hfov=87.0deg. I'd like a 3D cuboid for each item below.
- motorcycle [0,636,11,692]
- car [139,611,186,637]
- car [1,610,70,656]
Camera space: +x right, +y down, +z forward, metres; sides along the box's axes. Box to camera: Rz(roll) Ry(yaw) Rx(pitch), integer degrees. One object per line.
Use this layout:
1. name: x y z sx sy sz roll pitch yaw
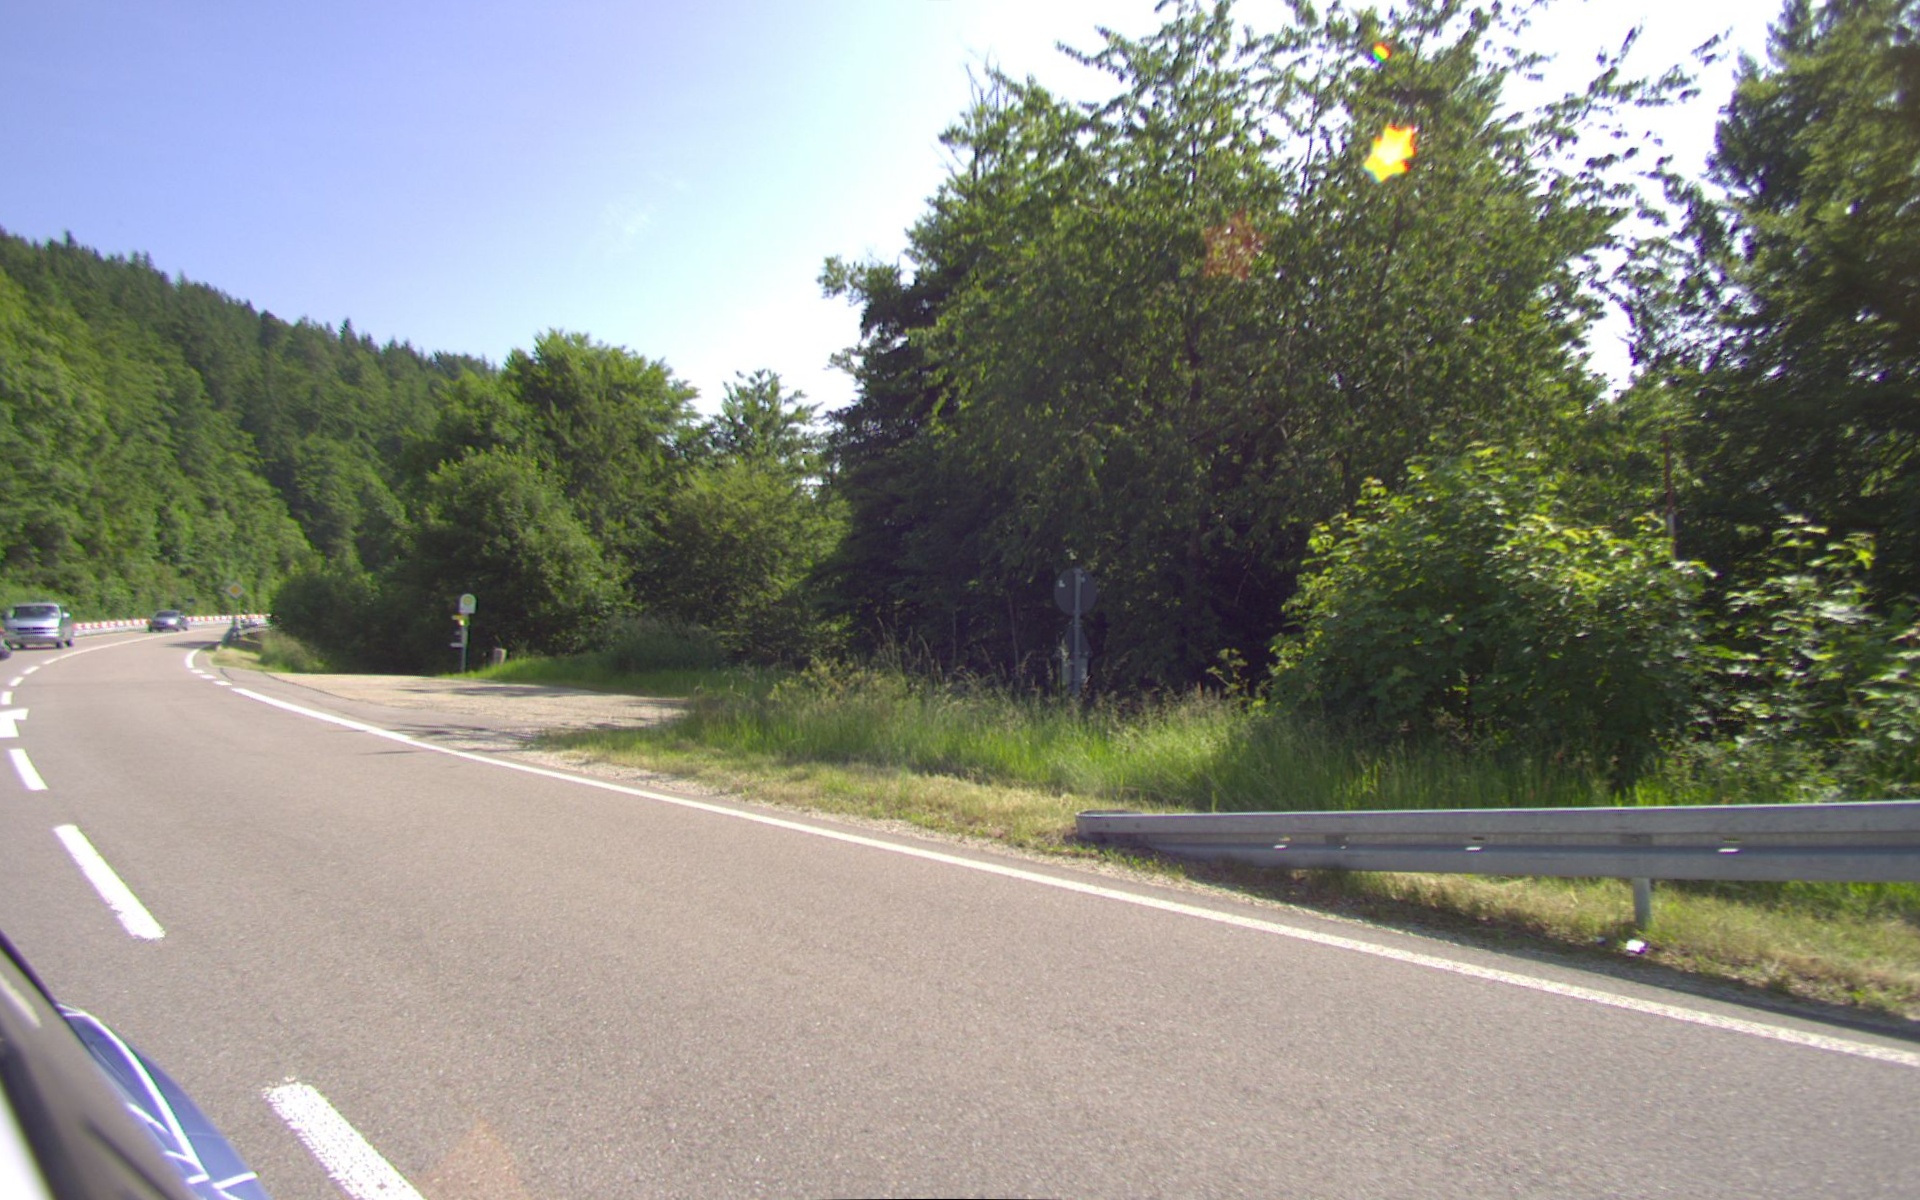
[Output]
1. motorcycle: -20.647 1.352 21.065 1.092 1.132 1.965 0 -1 -37
2. car: -54.503 1.614 69.253 1.966 1.655 4.012 -2 0 -31
3. car: -38.358 1.324 42.073 1.627 1.773 3.804 0 0 -35
